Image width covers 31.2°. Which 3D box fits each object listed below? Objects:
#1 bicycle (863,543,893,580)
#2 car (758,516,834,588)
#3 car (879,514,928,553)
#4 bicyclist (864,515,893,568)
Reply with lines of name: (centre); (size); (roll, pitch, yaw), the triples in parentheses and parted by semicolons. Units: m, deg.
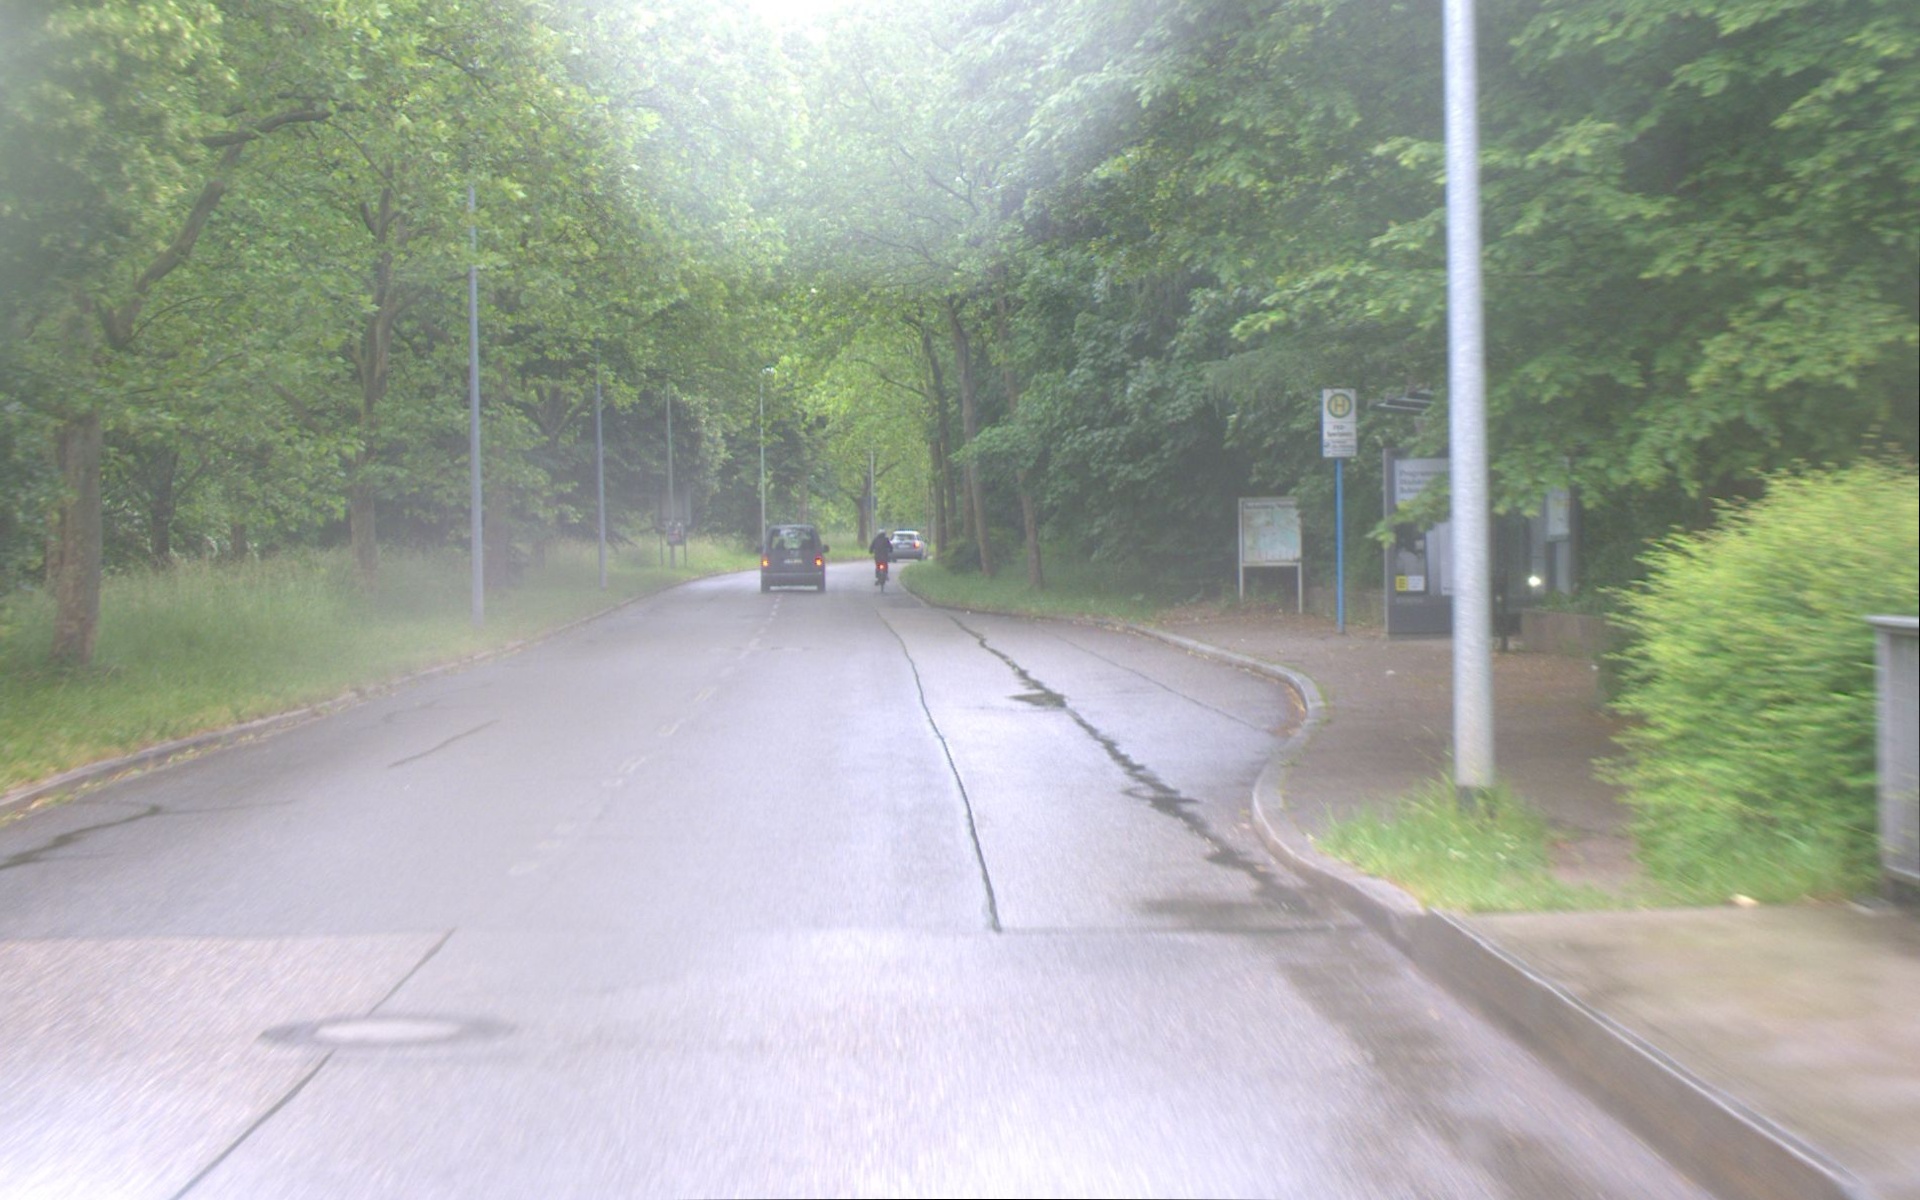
bicycle: (-2.213, -1.047, 93.064); (0.730, 0.970, 2.173); (1, 1, 1)
car: (-4.516, -1.336, 94.489); (1.985, 1.919, 4.001); (0, 2, -4)
car: (-2.653, -3.130, 161.392); (1.993, 1.809, 4.001); (1, 1, -5)
bicyclist: (-2.204, -1.589, 93.070); (0.730, 1.406, 0.973); (1, 1, 1)
